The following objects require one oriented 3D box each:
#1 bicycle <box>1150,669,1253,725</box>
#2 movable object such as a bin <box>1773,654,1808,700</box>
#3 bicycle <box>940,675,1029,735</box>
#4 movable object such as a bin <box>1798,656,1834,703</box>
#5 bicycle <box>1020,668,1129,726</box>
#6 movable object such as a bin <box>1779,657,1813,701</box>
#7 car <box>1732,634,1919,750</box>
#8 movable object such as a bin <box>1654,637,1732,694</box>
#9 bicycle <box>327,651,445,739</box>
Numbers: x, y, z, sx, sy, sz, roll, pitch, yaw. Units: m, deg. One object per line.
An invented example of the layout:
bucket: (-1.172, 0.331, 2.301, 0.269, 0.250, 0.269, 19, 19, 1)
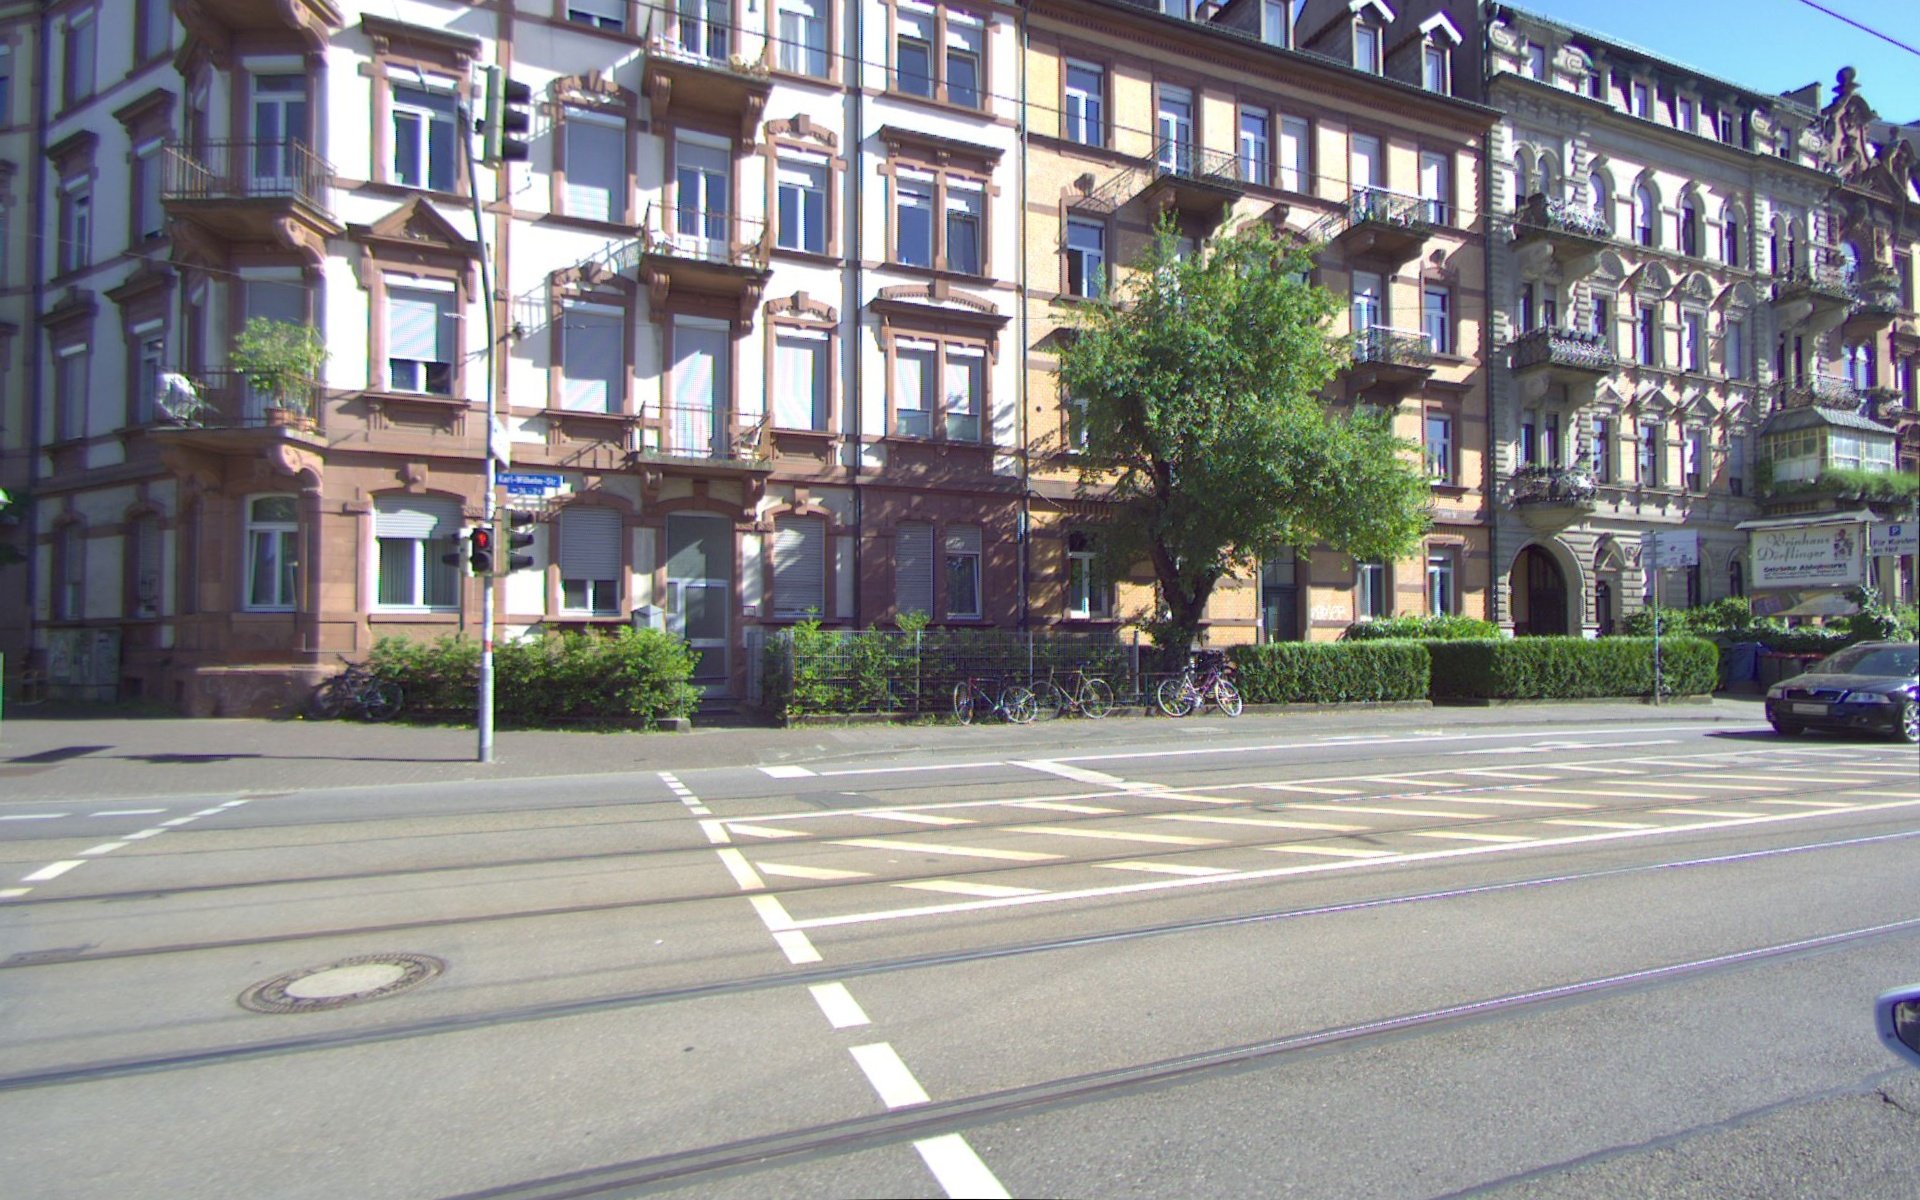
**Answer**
bicycle: (4.342, 1.722, 18.016, 1.912, 0.938, 0.341, 1, -1, -19)
movable object such as a bin: (20.732, 1.908, 25.069, 0.533, 1.100, 0.478, 1, -1, -21)
bicycle: (0.406, 1.723, 16.580, 1.429, 0.938, 0.341, 1, -1, -19)
movable object such as a bin: (20.945, 1.935, 24.567, 0.533, 1.100, 0.478, 1, -1, -21)
bicycle: (1.985, 1.652, 17.319, 1.912, 0.938, 0.341, 1, -1, -19)
movable object such as a bin: (21.219, 1.999, 25.498, 0.533, 1.100, 0.478, 1, -1, -21)
car: (14.616, 1.339, 15.728, 4.895, 1.538, 1.828, 1, 0, -23)
movable object such as a bin: (19.749, 1.732, 27.085, 1.153, 1.466, 1.317, 1, -1, -21)
bicycle: (-9.256, 1.508, 16.181, 2.005, 1.313, 0.420, 0, -1, 20)
